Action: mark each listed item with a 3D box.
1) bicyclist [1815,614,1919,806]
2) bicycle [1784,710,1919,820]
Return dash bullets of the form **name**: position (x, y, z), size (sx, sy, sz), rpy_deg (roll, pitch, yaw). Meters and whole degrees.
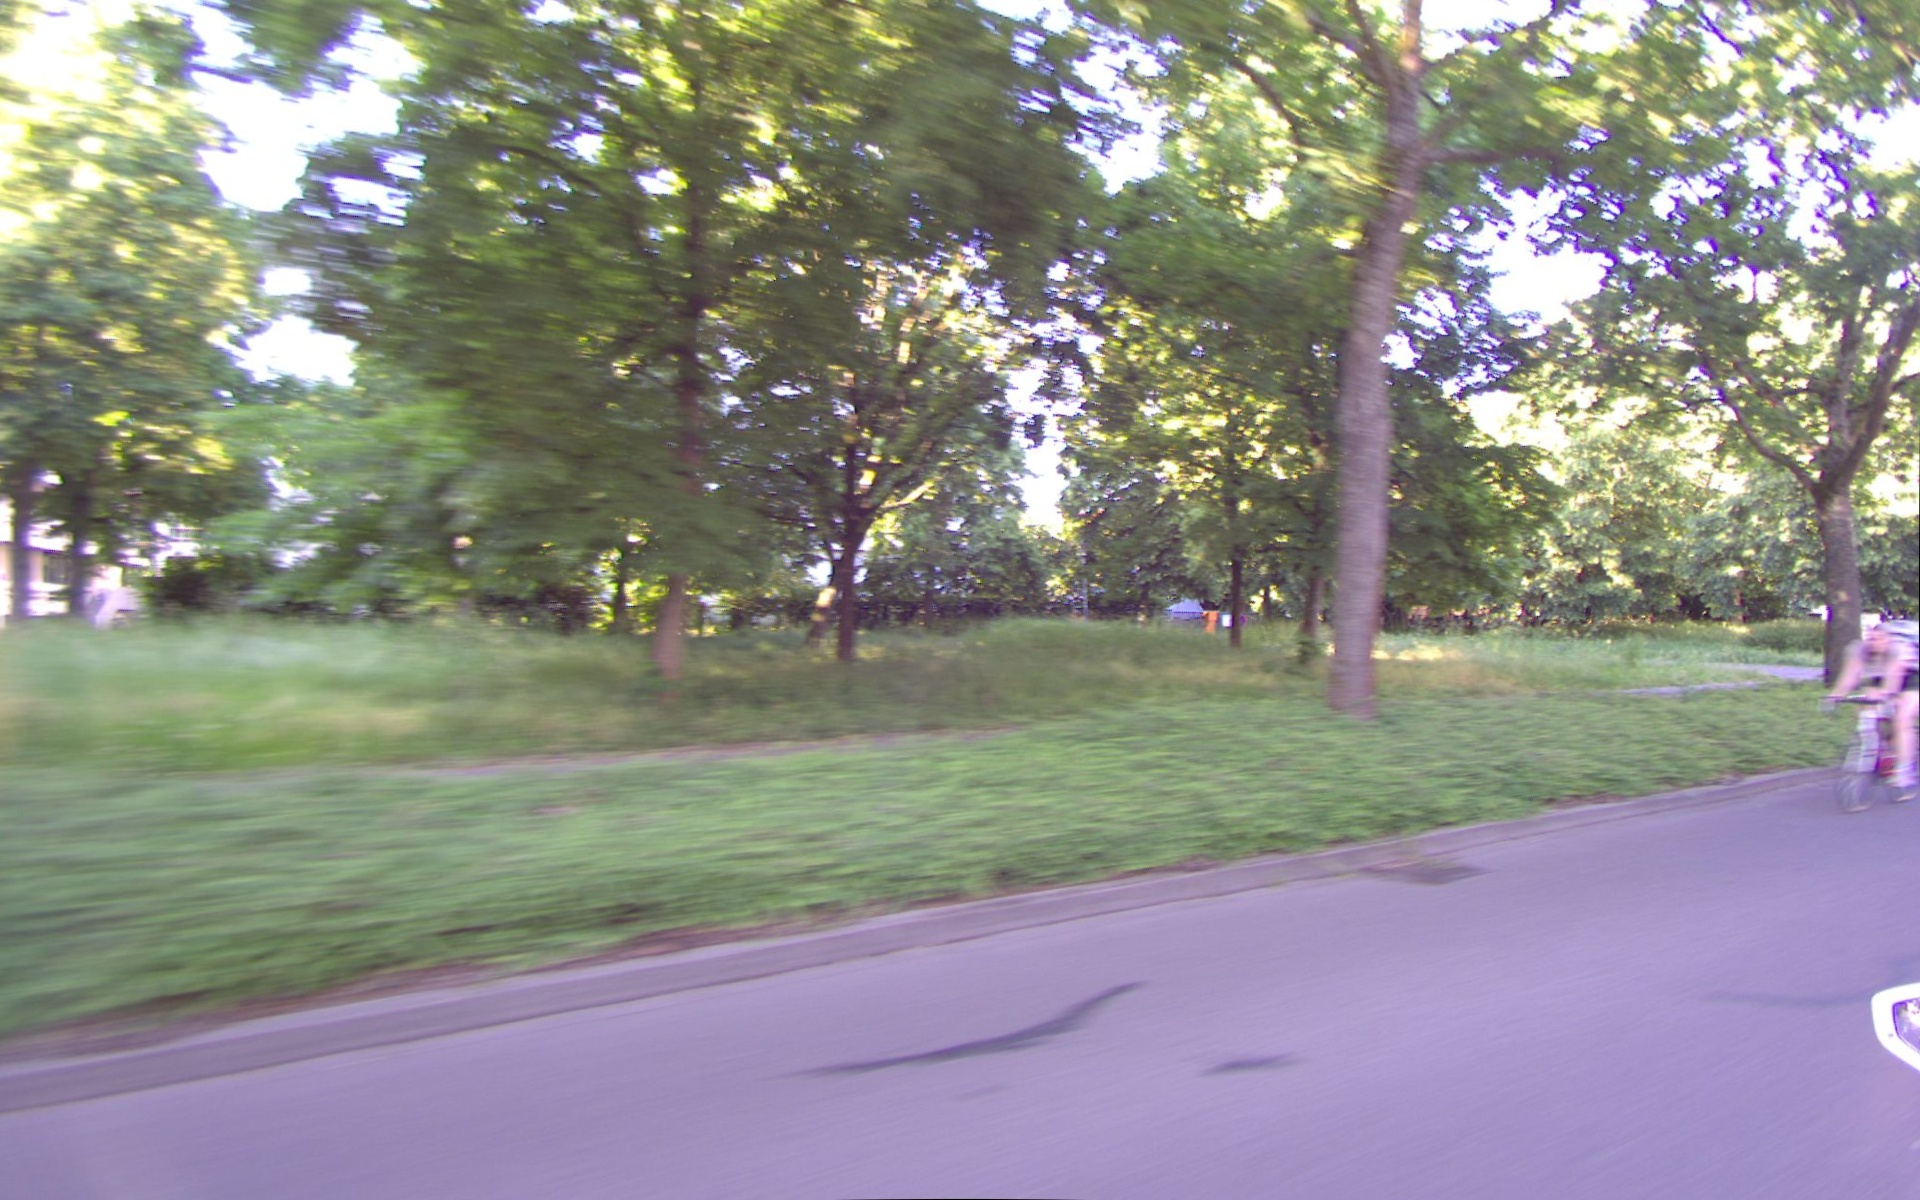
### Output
- **bicyclist**: position (8.126, 0.923, 8.765), size (0.989, 1.575, 0.631), rpy_deg (0, -2, -27)
- **bicycle**: position (8.109, 1.390, 8.742), size (2.098, 0.751, 0.637), rpy_deg (1, -2, -27)
